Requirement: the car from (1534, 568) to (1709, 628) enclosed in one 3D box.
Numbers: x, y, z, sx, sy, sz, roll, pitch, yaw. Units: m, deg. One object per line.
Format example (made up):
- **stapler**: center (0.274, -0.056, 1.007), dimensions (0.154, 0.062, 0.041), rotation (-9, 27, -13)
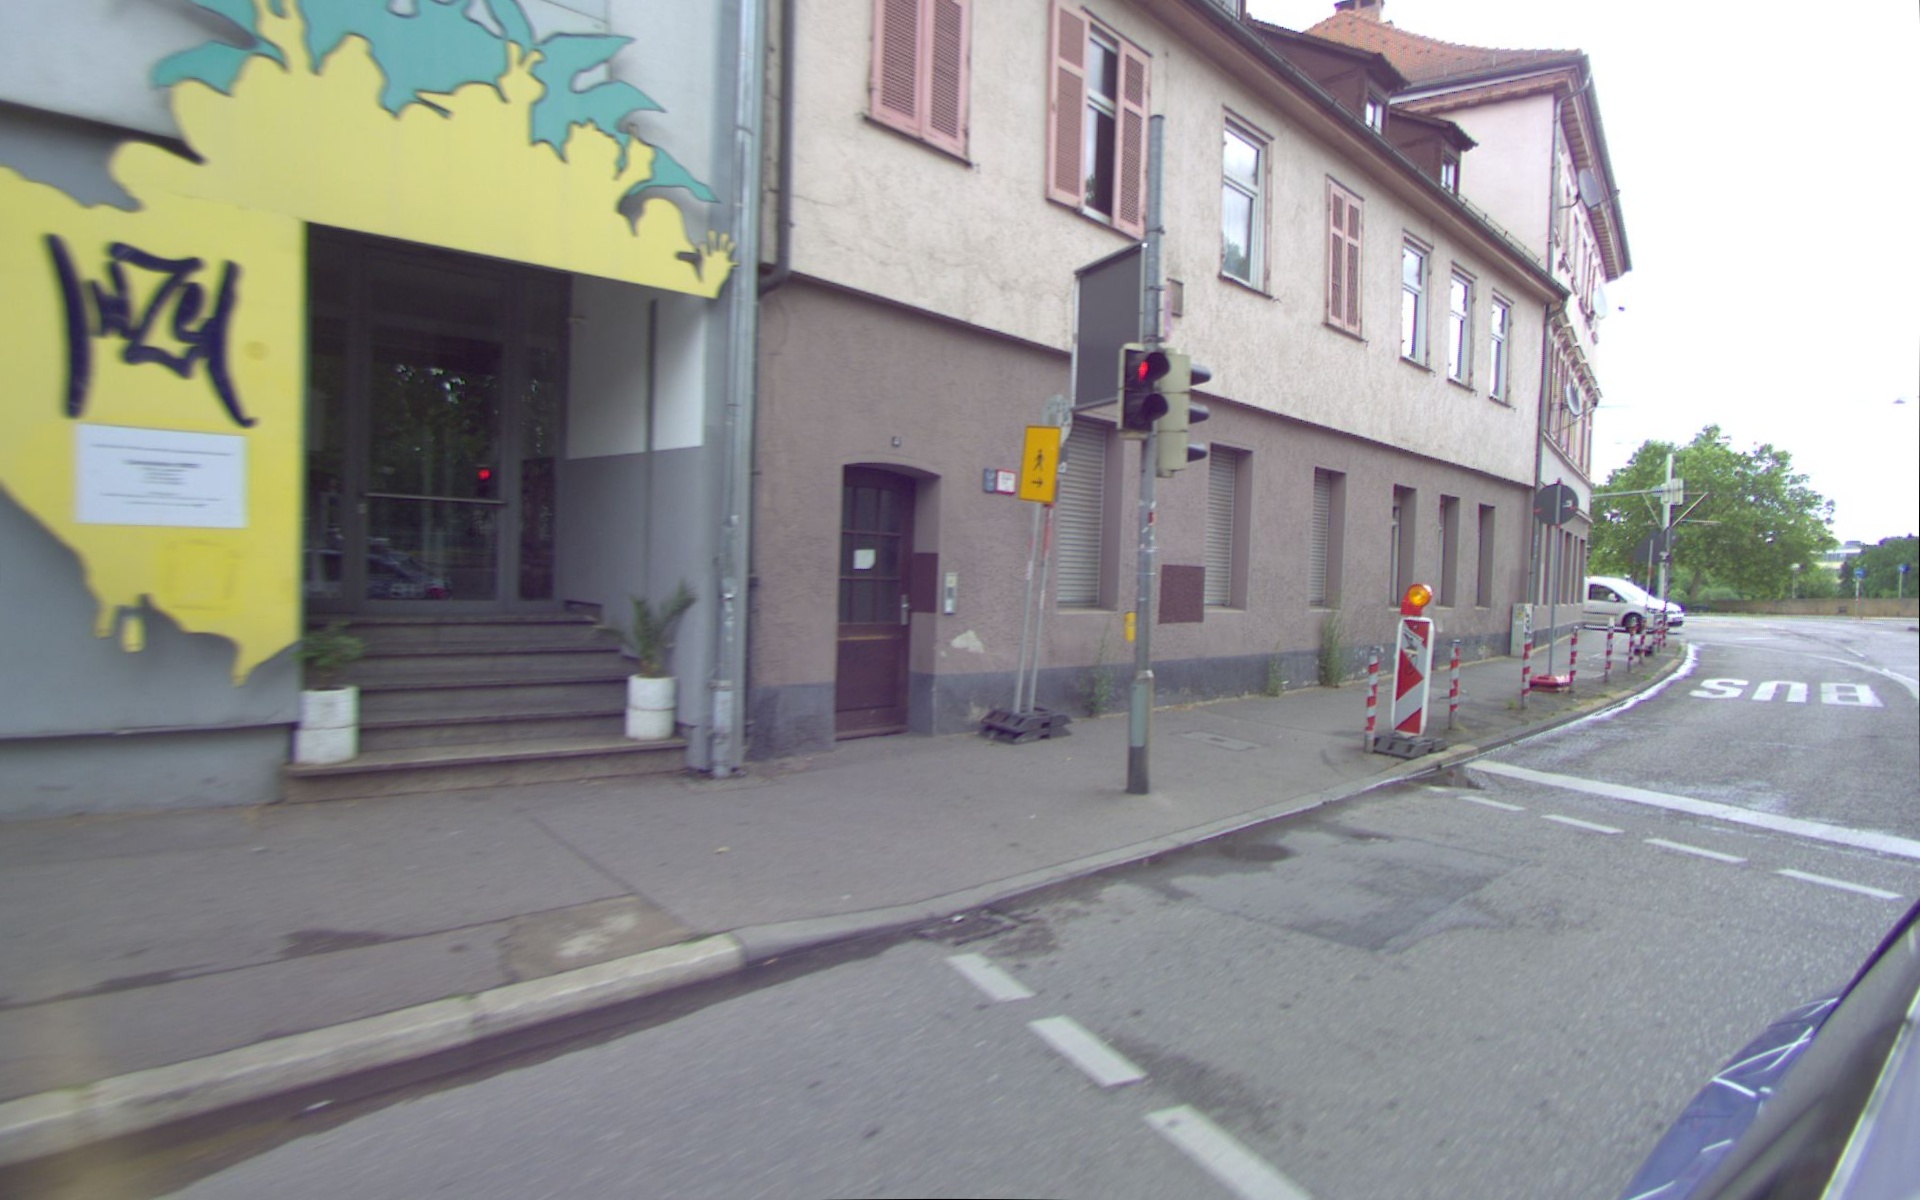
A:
- **car**: center (22.070, -0.089, 33.943), dimensions (2.034, 1.807, 4.461), rotation (-3, 1, -31)
